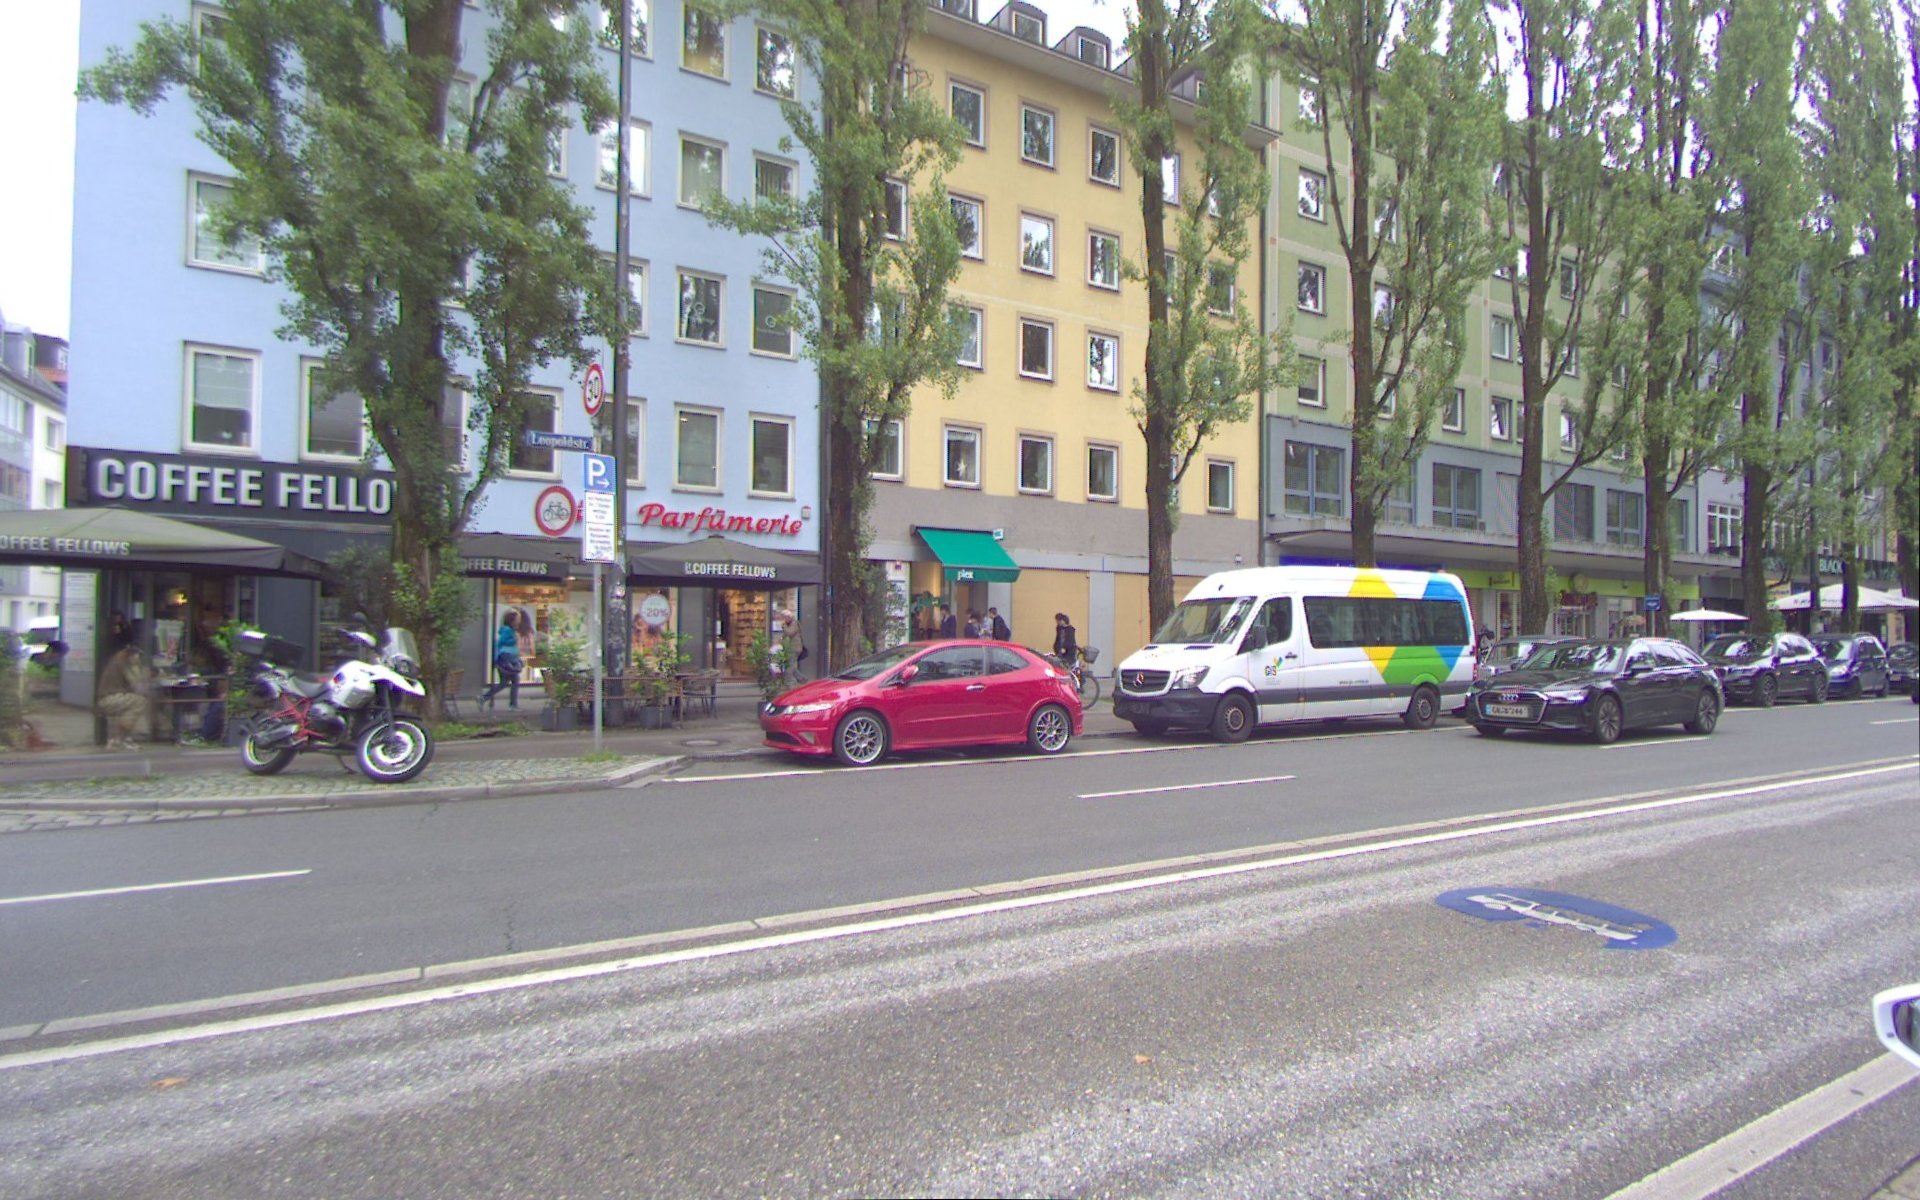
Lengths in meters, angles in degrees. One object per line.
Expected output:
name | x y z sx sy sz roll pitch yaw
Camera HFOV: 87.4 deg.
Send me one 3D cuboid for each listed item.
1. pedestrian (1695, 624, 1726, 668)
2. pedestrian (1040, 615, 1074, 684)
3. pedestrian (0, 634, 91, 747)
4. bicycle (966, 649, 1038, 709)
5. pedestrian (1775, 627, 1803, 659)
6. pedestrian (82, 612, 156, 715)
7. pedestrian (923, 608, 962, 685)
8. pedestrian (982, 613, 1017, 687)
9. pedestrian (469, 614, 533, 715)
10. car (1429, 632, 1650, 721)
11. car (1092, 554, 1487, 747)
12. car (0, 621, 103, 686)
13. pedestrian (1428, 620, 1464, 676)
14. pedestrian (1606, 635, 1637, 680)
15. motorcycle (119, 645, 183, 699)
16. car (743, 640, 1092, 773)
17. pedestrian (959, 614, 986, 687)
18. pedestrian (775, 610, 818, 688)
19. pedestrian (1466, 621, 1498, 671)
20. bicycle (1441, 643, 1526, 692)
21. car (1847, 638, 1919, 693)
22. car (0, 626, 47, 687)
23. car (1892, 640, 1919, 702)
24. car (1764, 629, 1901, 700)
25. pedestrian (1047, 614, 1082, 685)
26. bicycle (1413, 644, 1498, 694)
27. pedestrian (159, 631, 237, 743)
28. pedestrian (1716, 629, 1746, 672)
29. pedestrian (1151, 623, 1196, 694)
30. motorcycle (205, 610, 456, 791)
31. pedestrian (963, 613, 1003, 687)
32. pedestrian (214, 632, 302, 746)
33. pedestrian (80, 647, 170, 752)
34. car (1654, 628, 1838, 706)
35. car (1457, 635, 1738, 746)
pedestrian | 29.624 1.808 39.656 0.667 1.708 0.753 2 -3 -29
pedestrian | 2.448 1.238 25.375 0.713 1.722 0.699 0 -2 -9
pedestrian | -11.702 1.126 12.781 0.809 1.380 0.695 1 -2 -28
bicycle | 0.767 1.463 18.874 0.416 1.040 1.764 1 -2 -32
pedestrian | 37.786 1.966 45.773 0.792 1.428 0.760 2 0 -35
pedestrian | -15.016 1.117 17.938 0.933 1.796 0.699 -1 -2 30
pedestrian | -0.418 1.106 24.090 0.717 1.818 0.695 1 -2 -25
pedestrian | 0.896 1.129 22.937 0.713 1.657 0.699 0 -2 -6
pedestrian | -7.867 1.088 17.213 0.938 1.668 0.695 1 -2 -29
car | 11.442 1.448 19.782 4.362 1.572 1.858 1 -3 -30
car | 5.450 0.792 16.143 6.831 2.601 1.996 1 -3 -30
car | -35.867 2.124 39.805 1.959 2.396 4.554 1 -3 -29
pedestrian | 15.101 1.487 31.225 0.667 1.708 0.753 2 -3 -29
pedestrian | 25.379 2.187 38.518 0.667 1.708 0.753 2 -3 -28
motorcycle | -20.020 1.758 24.913 0.729 1.219 2.748 -1 -1 -28
car | -0.489 1.234 12.670 4.100 1.438 1.729 1 -3 -30
pedestrian | 0.285 1.155 23.083 0.553 1.657 0.699 0 -2 -6
pedestrian | -3.536 1.049 21.695 0.718 1.657 0.695 1 -2 -28
pedestrian | 18.034 1.600 34.699 0.749 1.708 0.670 2 -3 -29
bicycle | 13.503 1.728 25.968 0.710 1.110 1.862 1 1 -27
car | 27.929 1.879 29.301 4.299 1.508 1.790 1 -3 -30
car | -30.539 1.766 31.312 2.093 1.789 4.551 1 -3 -30
car | 24.372 1.678 24.166 4.081 1.453 1.738 1 -3 -30
car | 23.165 1.675 26.645 3.880 1.743 1.700 1 -3 -33
pedestrian | 2.565 1.211 24.651 0.713 1.722 0.699 0 -2 -9
bicycle | 12.453 1.706 25.312 0.710 1.110 1.862 1 1 -27
pedestrian | -9.718 1.086 12.837 0.692 1.380 0.709 1 -2 -32
pedestrian | 30.912 2.036 40.270 0.667 1.708 0.753 2 -3 -29
pedestrian | 5.202 1.415 24.467 0.775 1.708 0.753 1 -2 -27
motorcycle | -6.058 0.906 9.664 2.301 1.584 0.715 1 -1 18
pedestrian | 0.534 1.168 23.819 0.717 1.722 0.695 1 -2 -25
pedestrian | -8.825 1.095 12.661 0.838 1.380 0.694 1 -2 -31
pedestrian | -10.107 1.176 12.186 0.692 1.198 0.811 1 -2 -31
car | 18.656 1.552 23.801 4.557 1.686 1.858 1 -3 -30
car | 9.849 1.302 15.433 4.657 1.481 1.690 1 -3 -30
